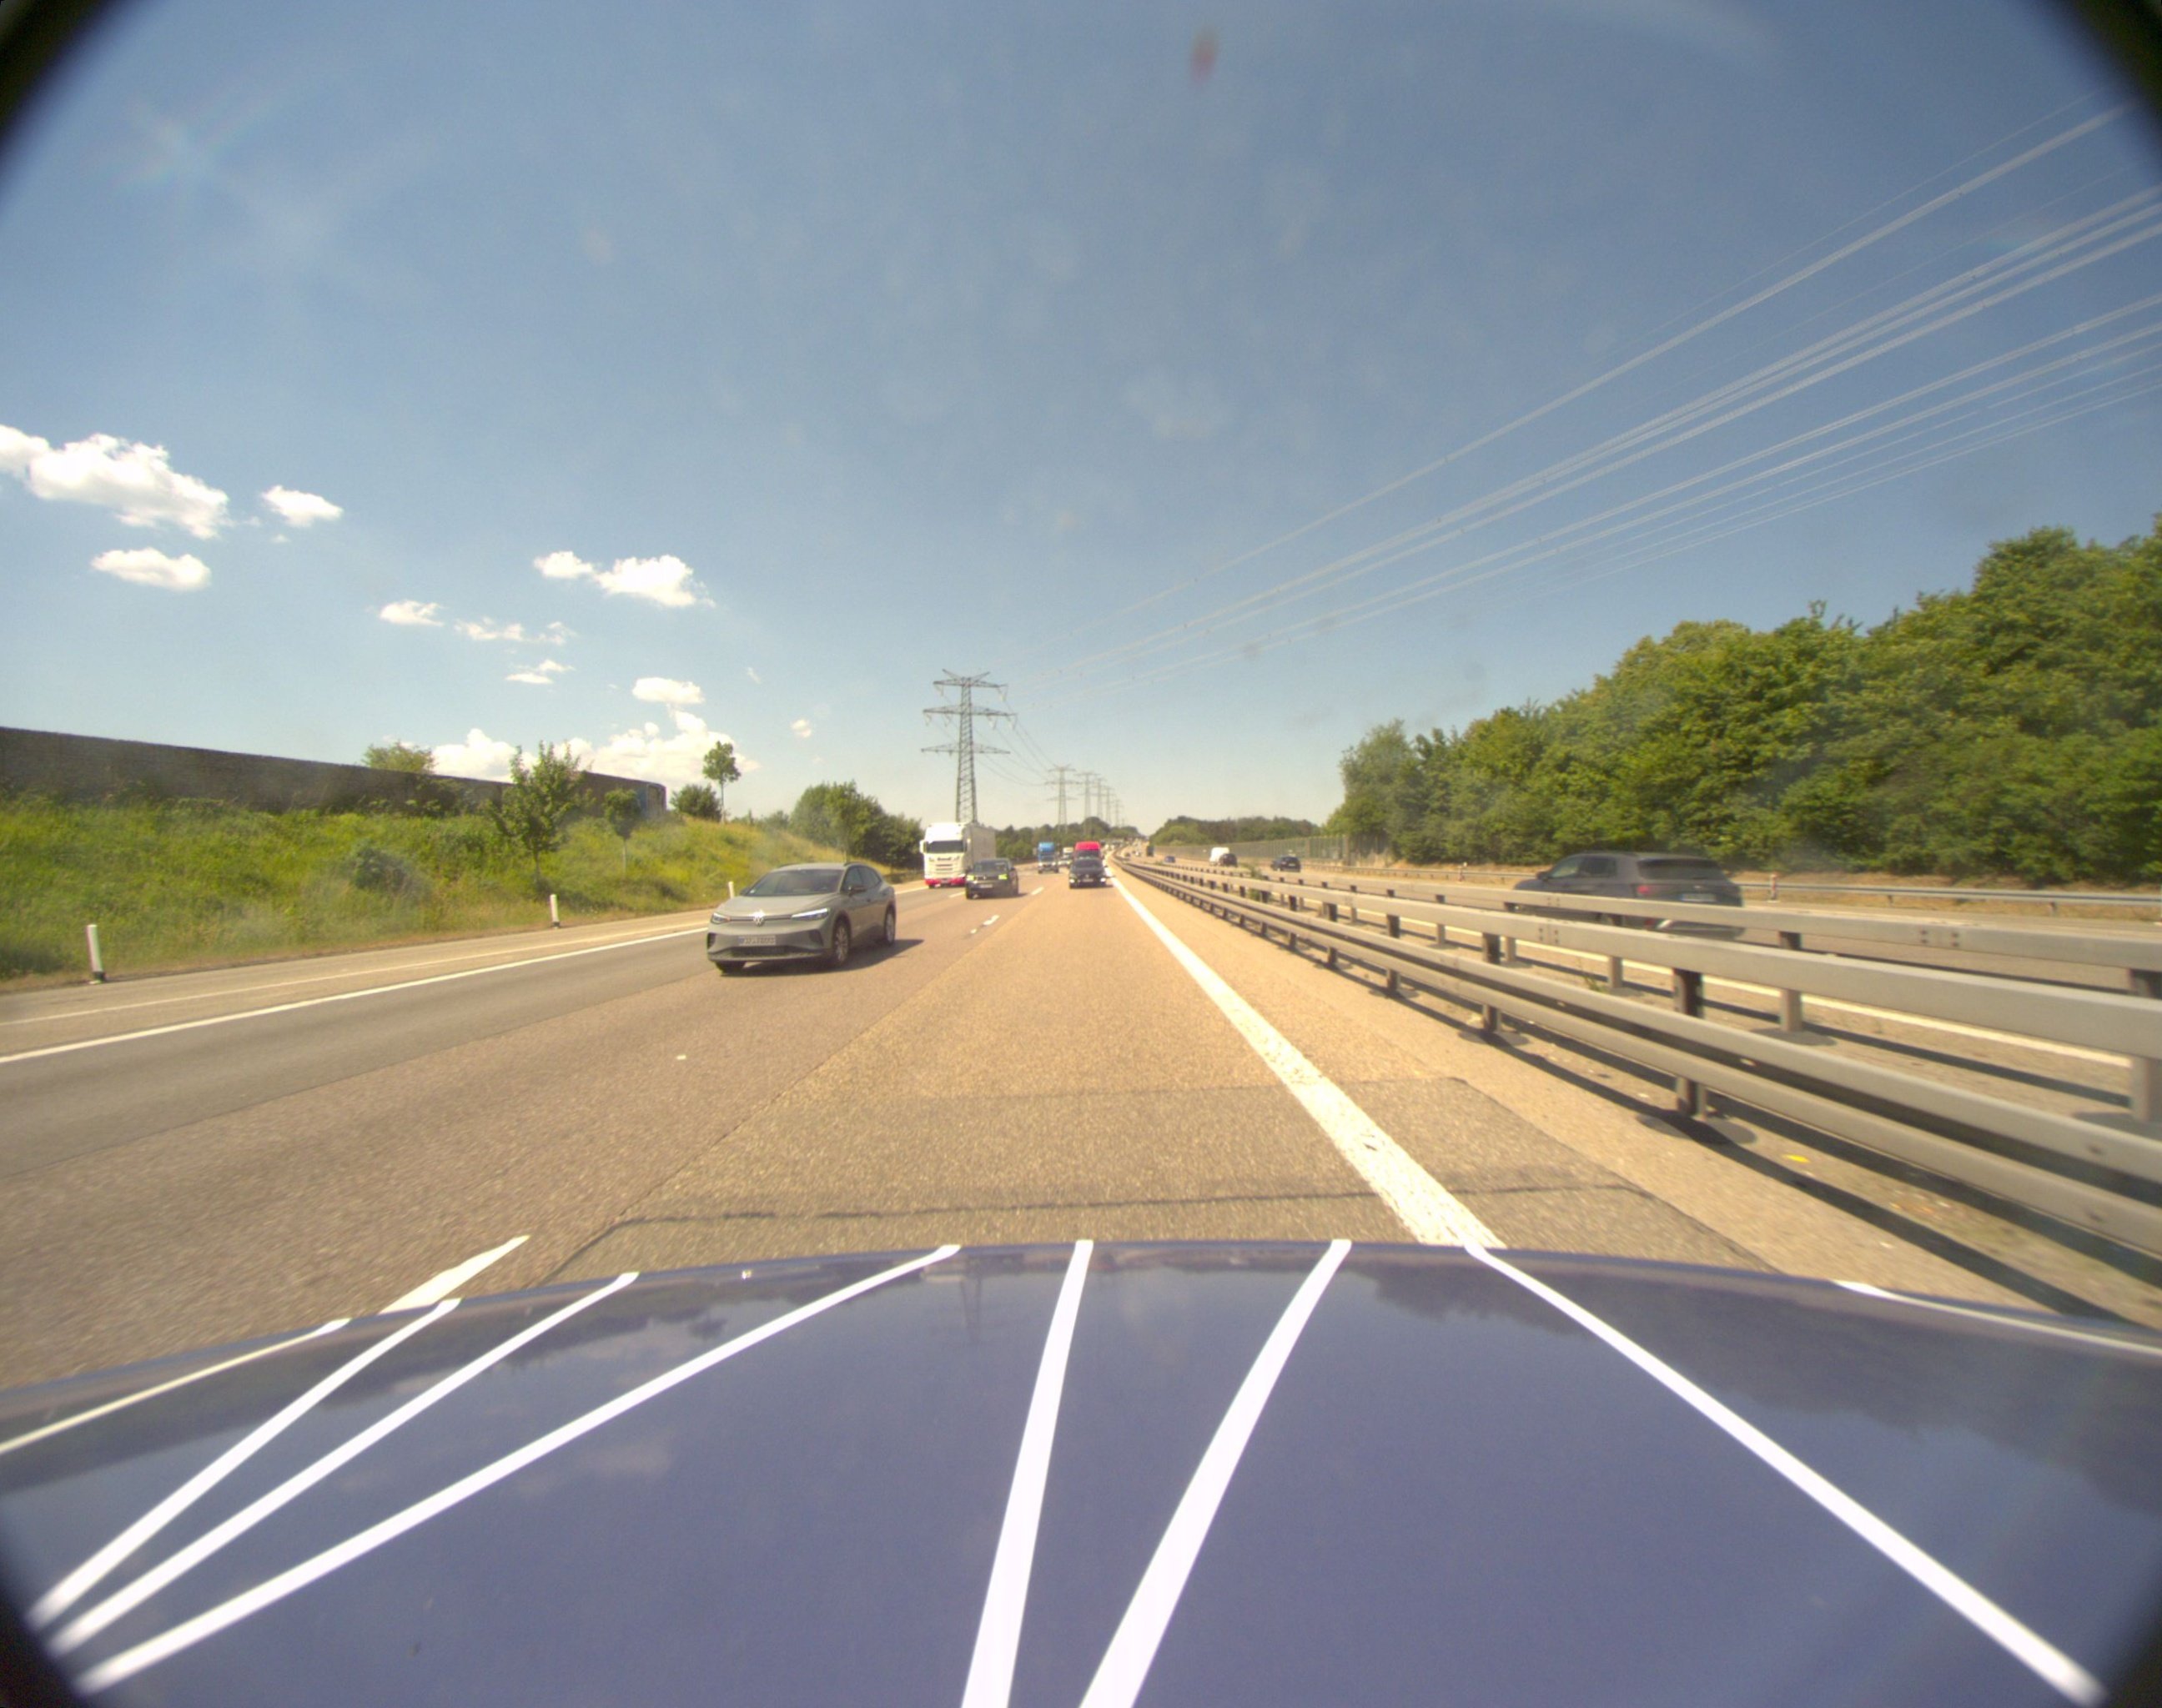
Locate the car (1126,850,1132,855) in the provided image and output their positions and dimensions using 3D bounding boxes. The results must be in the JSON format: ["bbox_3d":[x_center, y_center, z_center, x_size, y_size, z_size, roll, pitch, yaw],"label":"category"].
[{"bbox_3d":[16.835,-0.526,264.736,1.786,1.465,4.489,0,0,1],"label":"car"}]

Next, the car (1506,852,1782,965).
[{"bbox_3d":[9.229,0.780,12.948,1.786,1.615,4.000,-1,0,1],"label":"car"}]

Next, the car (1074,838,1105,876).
[{"bbox_3d":[0.644,0.188,54.431,2.100,2.598,4.496,0,0,2],"label":"car"}]

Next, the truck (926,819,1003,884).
[{"bbox_3d":[-7.795,-0.169,52.927,3.076,3.885,12.504,-2,0,1],"label":"truck"}]

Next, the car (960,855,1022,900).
[{"bbox_3d":[-3.667,0.925,31.802,1.955,1.636,4.047,-3,0,1],"label":"car"}]

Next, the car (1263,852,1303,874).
[{"bbox_3d":[17.633,0.761,66.541,2.163,1.789,4.512,1,0,-1],"label":"car"}]

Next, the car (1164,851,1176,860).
[{"bbox_3d":[15.717,0.286,134.108,1.786,1.465,4.355,2,0,2],"label":"car"}]

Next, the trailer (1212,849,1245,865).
[{"bbox_3d":[18.978,0.357,98.025,2.772,1.934,6.722,1,0,-1],"label":"trailer"}]

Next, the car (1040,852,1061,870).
[{"bbox_3d":[-2.898,0.674,73.544,1.749,1.691,4.088,0,0,2],"label":"car"}]

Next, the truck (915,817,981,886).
[{"bbox_3d":[-7.940,-0.151,45.832,3.076,3.885,3.847,-2,0,1],"label":"truck"}]

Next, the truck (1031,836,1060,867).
[{"bbox_3d":[-6.101,-0.390,132.887,3.797,4.970,14.924,-2,0,1],"label":"truck"}]

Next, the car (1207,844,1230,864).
[{"bbox_3d":[18.901,-0.067,104.394,2.114,2.624,6.004,1,0,1],"label":"car"}]

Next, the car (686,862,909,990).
[{"bbox_3d":[-4.451,1.029,12.821,1.873,1.627,4.585,-3,0,1],"label":"car"}]

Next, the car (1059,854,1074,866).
[{"bbox_3d":[-2.064,0.879,109.950,1.879,1.591,3.688,0,0,2],"label":"car"}]

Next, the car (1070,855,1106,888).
[{"bbox_3d":[0.378,0.836,38.357,1.735,1.535,3.750,0,0,1],"label":"car"}]
